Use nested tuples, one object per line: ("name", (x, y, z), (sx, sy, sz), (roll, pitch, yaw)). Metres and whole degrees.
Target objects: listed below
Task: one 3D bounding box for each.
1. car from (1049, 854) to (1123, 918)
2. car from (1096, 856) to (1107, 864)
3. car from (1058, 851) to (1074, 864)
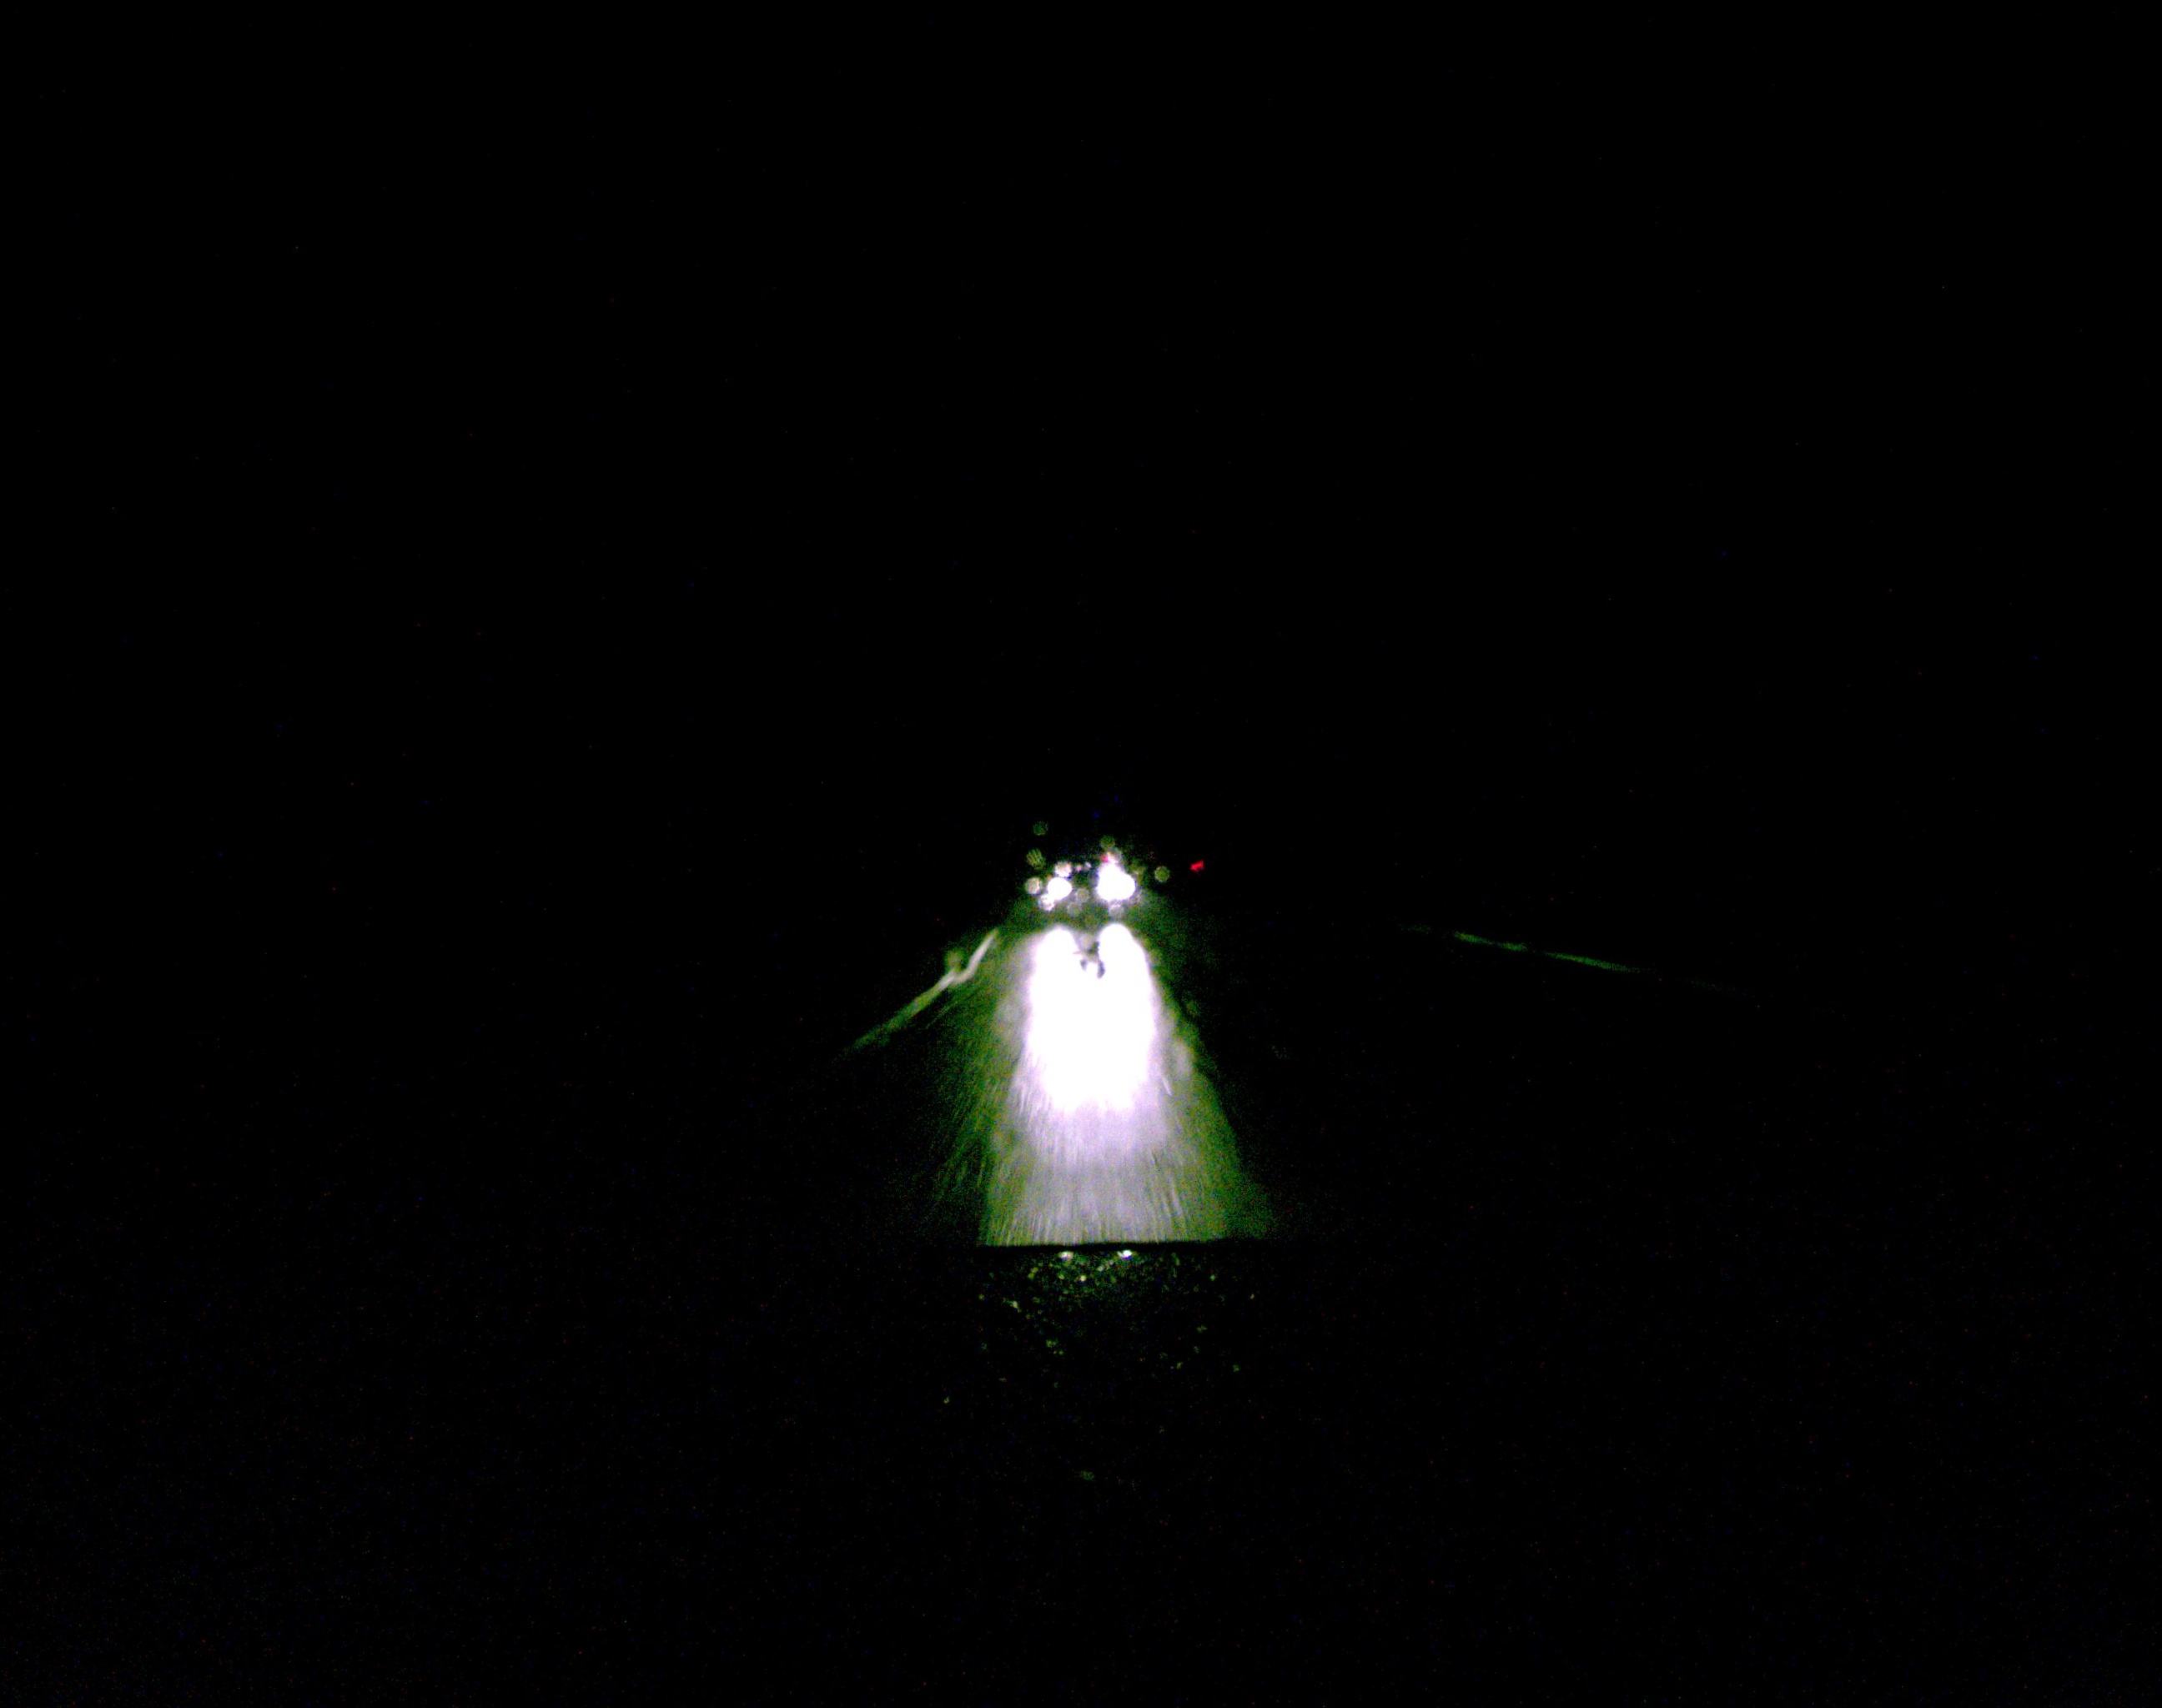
("car", (0.169, 0.818, 21.517), (1.846, 1.565, 4.000), (-2, 0, 1))
("car", (4.116, 1.101, 152.212), (1.909, 1.461, 4.274), (-4, 0, -2))
("car", (-1.861, 0.400, 96.142), (1.846, 1.565, 4.000), (-2, 0, 1))
